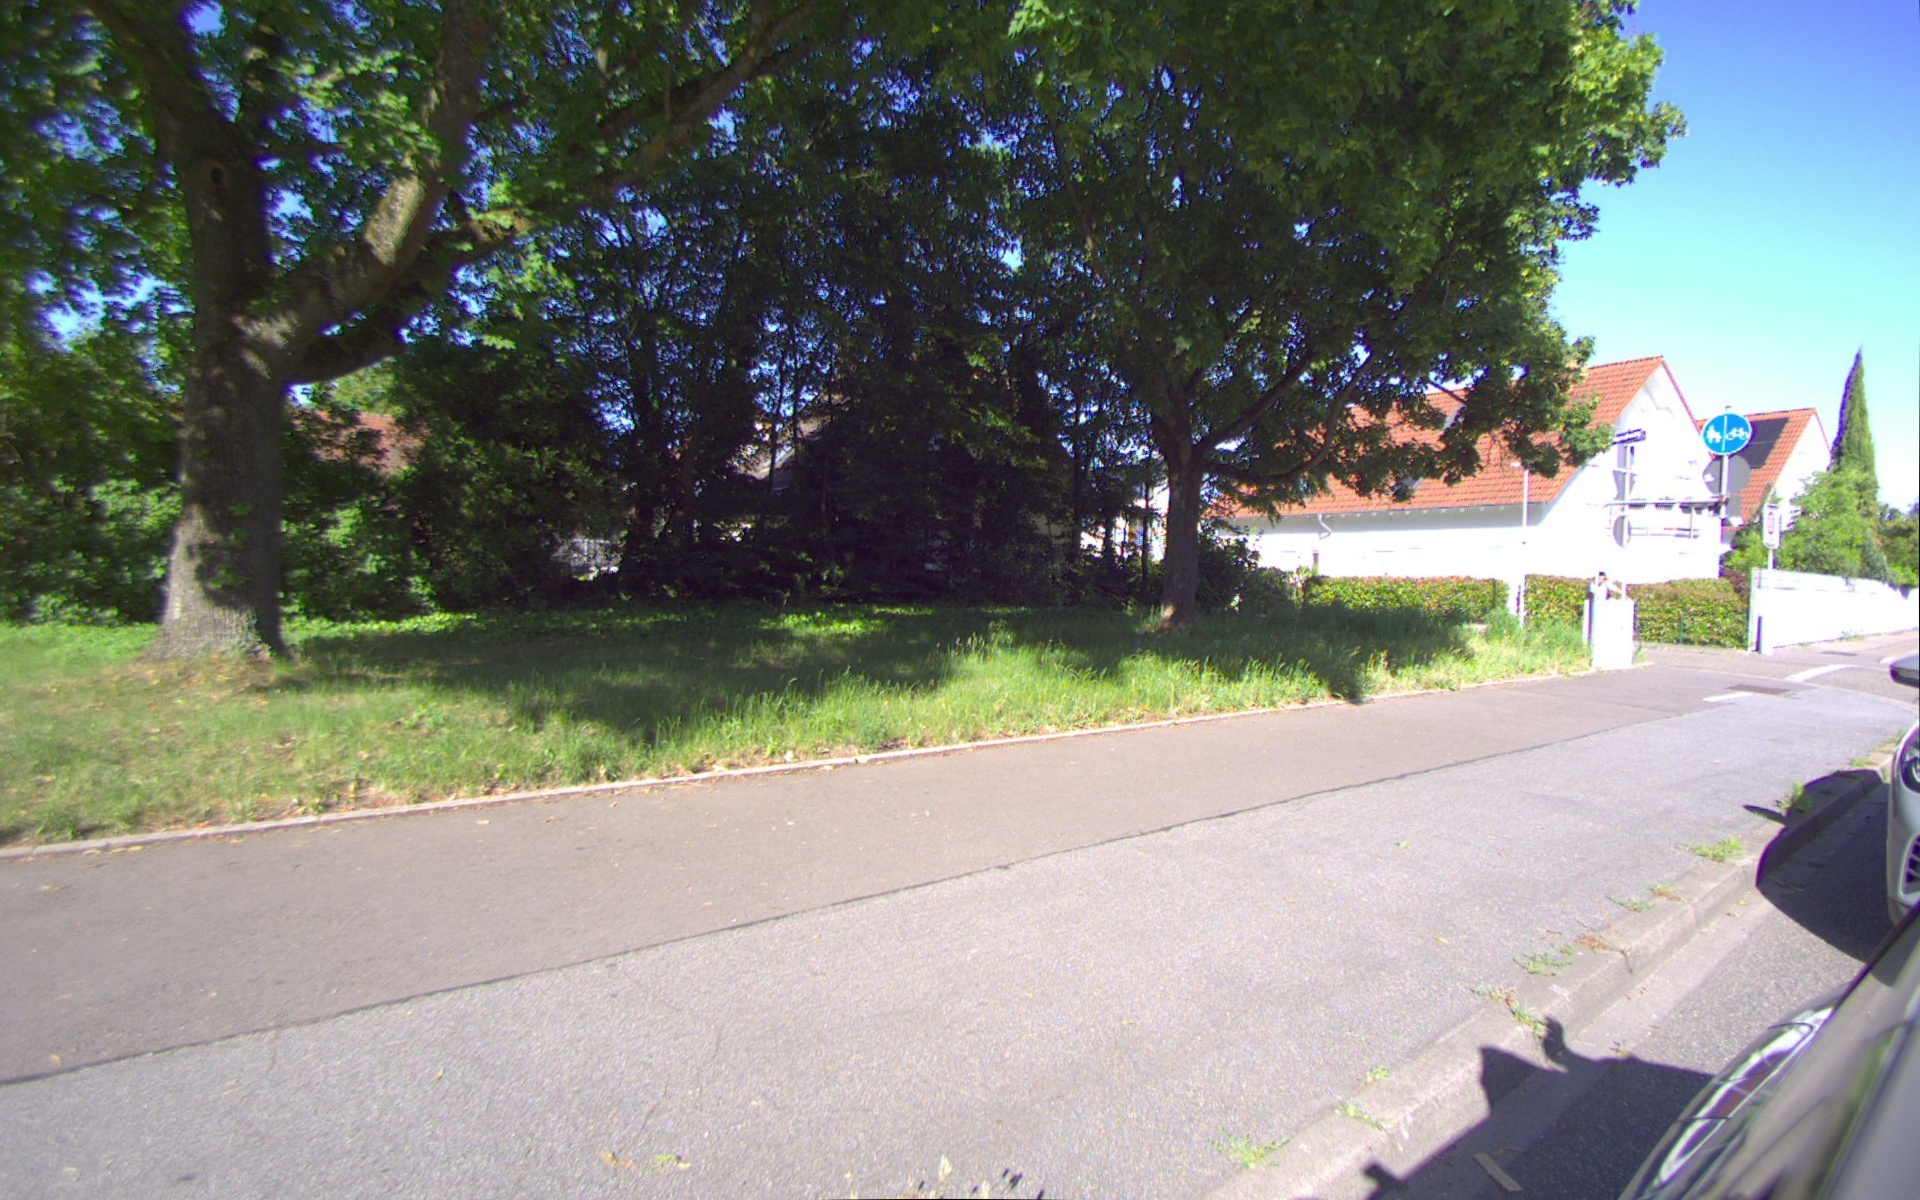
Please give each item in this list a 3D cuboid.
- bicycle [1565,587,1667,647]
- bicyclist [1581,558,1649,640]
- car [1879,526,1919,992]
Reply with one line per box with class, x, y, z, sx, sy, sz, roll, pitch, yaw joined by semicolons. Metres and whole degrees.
bicycle;13.311;0.318;20.616;0.569;1.111;1.990;3;1;-6
bicyclist;13.325;-0.036;20.614;0.569;1.601;0.999;3;1;-6
car;5.630;0.605;4.427;4.133;1.710;1.857;0;3;-41
